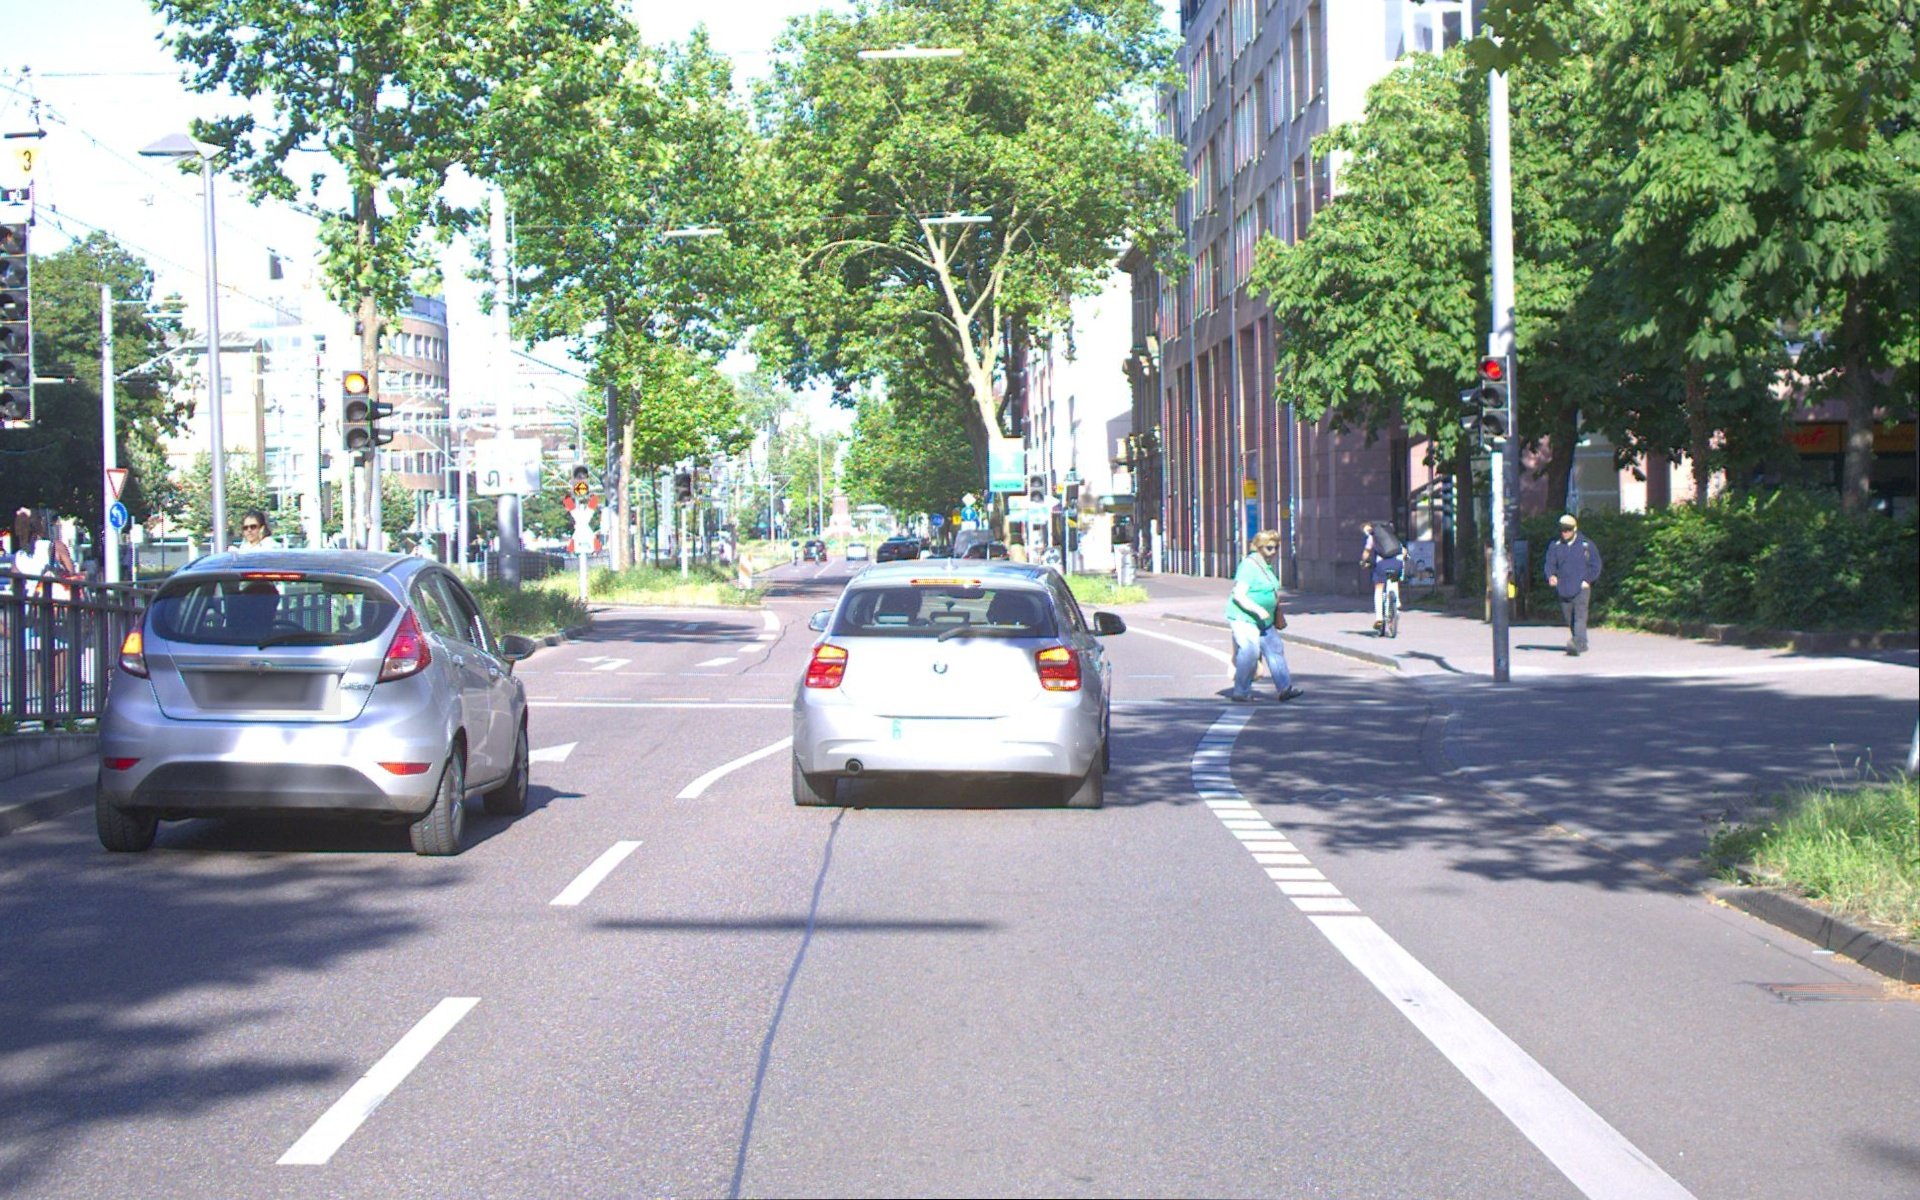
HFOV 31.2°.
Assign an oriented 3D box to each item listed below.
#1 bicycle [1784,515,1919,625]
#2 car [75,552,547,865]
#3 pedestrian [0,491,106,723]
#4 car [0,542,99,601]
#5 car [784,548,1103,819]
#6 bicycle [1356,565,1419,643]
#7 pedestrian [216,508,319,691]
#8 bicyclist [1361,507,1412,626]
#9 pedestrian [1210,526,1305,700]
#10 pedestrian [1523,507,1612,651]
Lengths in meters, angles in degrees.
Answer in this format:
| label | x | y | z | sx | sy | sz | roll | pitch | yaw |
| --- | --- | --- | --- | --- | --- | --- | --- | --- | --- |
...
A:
| label | x | y | z | sx | sy | sz | roll | pitch | yaw |
| --- | --- | --- | --- | --- | --- | --- | --- | --- | --- |
| bicycle | 11.424 | -0.388 | 43.112 | 1.996 | 1.310 | 0.574 | -2 | 1 | 2 |
| car | -3.162 | 0.467 | 17.407 | 1.660 | 1.404 | 3.632 | 0 | 1 | 1 |
| pedestrian | -6.225 | 0.039 | 23.495 | 0.630 | 1.551 | 0.647 | -1 | 1 | -5 |
| car | -26.452 | -0.844 | 99.313 | 1.994 | 1.619 | 4.000 | -1 | 1 | 3 |
| car | -0.013 | 0.428 | 20.738 | 1.730 | 1.385 | 3.840 | 1 | 2 | 2 |
| bicycle | 6.060 | 0.048 | 48.646 | 0.832 | 1.038 | 1.874 | -1 | 1 | 8 |
| pedestrian | -6.226 | 0.004 | 30.920 | 0.641 | 1.614 | 0.639 | -3 | -2 | 44 |
| bicyclist | 6.034 | -0.479 | 48.579 | 0.658 | 1.651 | 0.764 | -1 | 1 | 8 |
| pedestrian | 2.716 | 0.113 | 31.357 | 0.830 | 1.570 | 0.739 | 0 | 1 | 7 |
| pedestrian | 6.965 | -0.247 | 39.403 | 0.628 | 1.623 | 0.941 | 1 | 1 | 39 |
